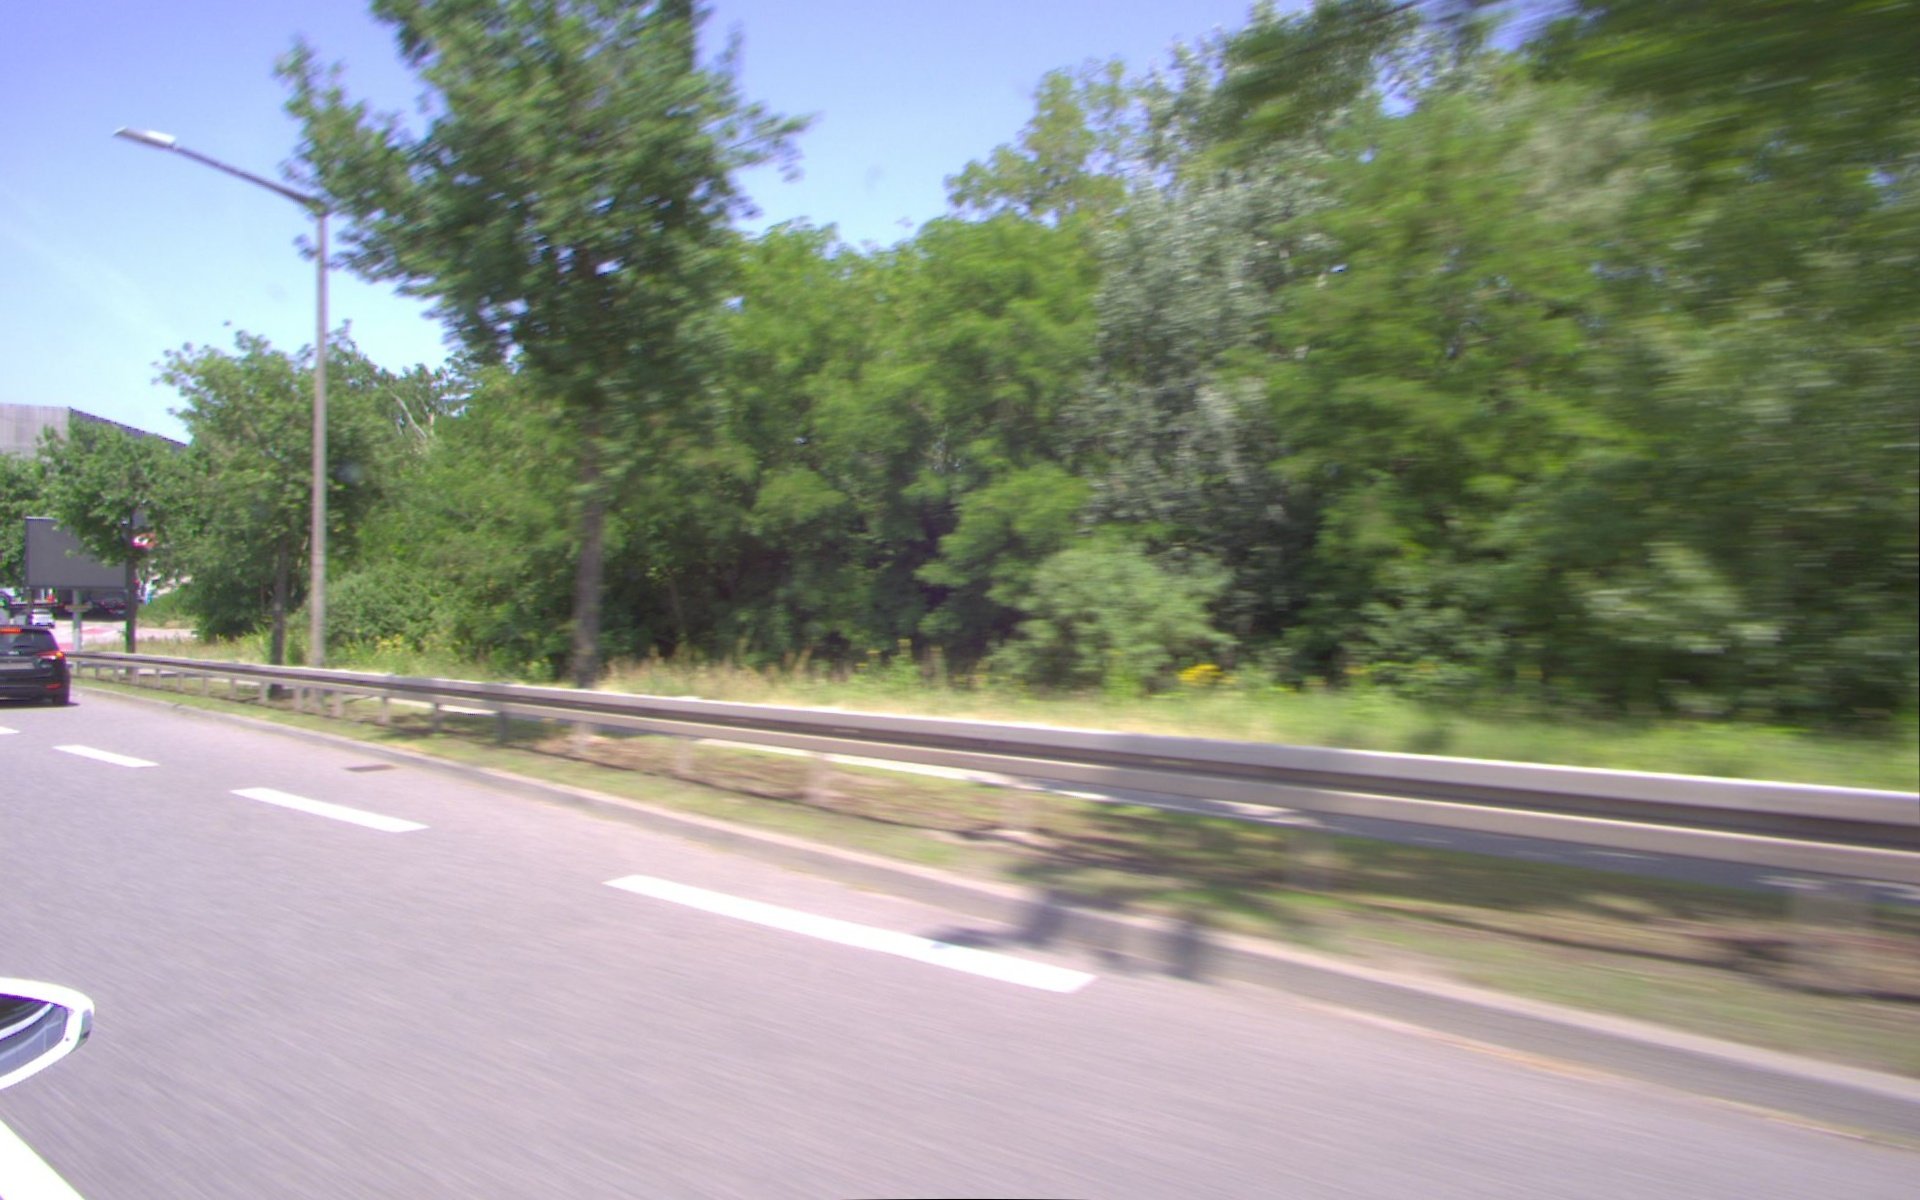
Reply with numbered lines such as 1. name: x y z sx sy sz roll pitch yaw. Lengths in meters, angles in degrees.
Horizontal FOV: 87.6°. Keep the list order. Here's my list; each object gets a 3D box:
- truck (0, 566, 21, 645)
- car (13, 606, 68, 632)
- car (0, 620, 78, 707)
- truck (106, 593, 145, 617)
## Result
1. truck: -55.585 0.211 55.835 3.044 4.422 6.048 5 -3 -29
2. car: -73.370 1.521 79.920 3.936 2.039 1.993 0 -1 27
3. car: -19.338 1.213 20.175 4.029 1.619 1.760 0 -2 40
4. truck: -93.011 0.526 111.665 2.038 2.571 3.991 0 0 -18
